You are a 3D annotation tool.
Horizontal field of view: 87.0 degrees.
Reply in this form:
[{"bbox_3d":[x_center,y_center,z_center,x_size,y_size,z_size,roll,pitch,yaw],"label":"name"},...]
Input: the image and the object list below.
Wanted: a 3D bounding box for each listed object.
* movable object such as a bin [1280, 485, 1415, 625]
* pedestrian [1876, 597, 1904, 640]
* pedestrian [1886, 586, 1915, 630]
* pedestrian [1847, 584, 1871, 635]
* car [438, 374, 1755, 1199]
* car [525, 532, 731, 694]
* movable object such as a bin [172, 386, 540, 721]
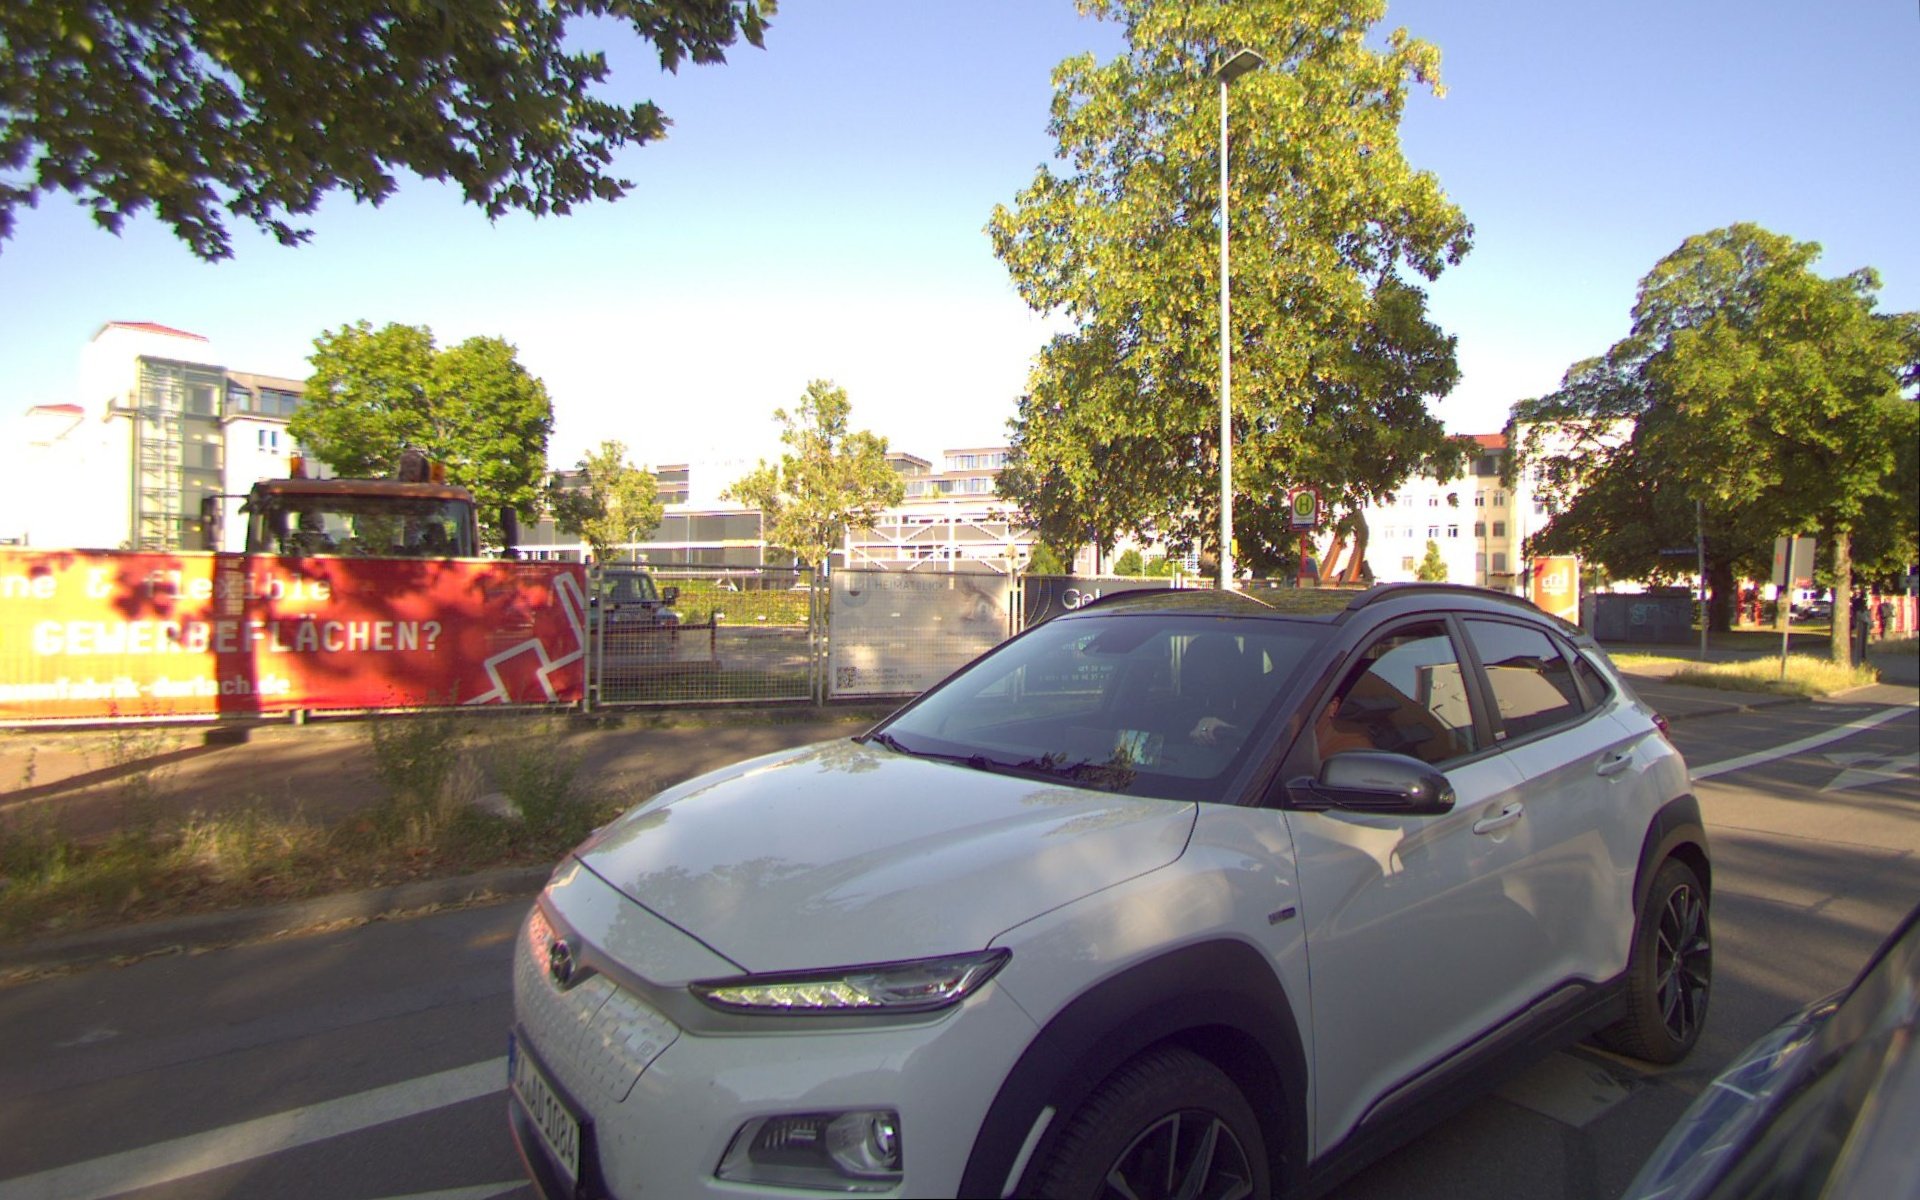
[{"bbox_3d":[16.448,-1.797,43.516,3.910,5.547,6.022,-1,0,6],"label":"movable object such as a bin"},{"bbox_3d":[31.688,0.616,34.477,0.627,1.453,0.609,0,0,-40],"label":"pedestrian"},{"bbox_3d":[36.510,0.316,39.272,0.627,1.689,0.696,0,0,-36],"label":"pedestrian"},{"bbox_3d":[31.248,0.336,35.175,0.607,1.759,0.629,-1,0,44],"label":"pedestrian"},{"bbox_3d":[0.751,0.607,3.146,3.893,1.618,1.893,2,-2,-39],"label":"car"},{"bbox_3d":[-4.783,0.138,14.079,2.001,1.851,4.612,-1,0,-27],"label":"car"},{"bbox_3d":[-7.512,-0.442,12.847,3.154,3.088,6.295,-1,0,-31],"label":"movable object such as a bin"}]
